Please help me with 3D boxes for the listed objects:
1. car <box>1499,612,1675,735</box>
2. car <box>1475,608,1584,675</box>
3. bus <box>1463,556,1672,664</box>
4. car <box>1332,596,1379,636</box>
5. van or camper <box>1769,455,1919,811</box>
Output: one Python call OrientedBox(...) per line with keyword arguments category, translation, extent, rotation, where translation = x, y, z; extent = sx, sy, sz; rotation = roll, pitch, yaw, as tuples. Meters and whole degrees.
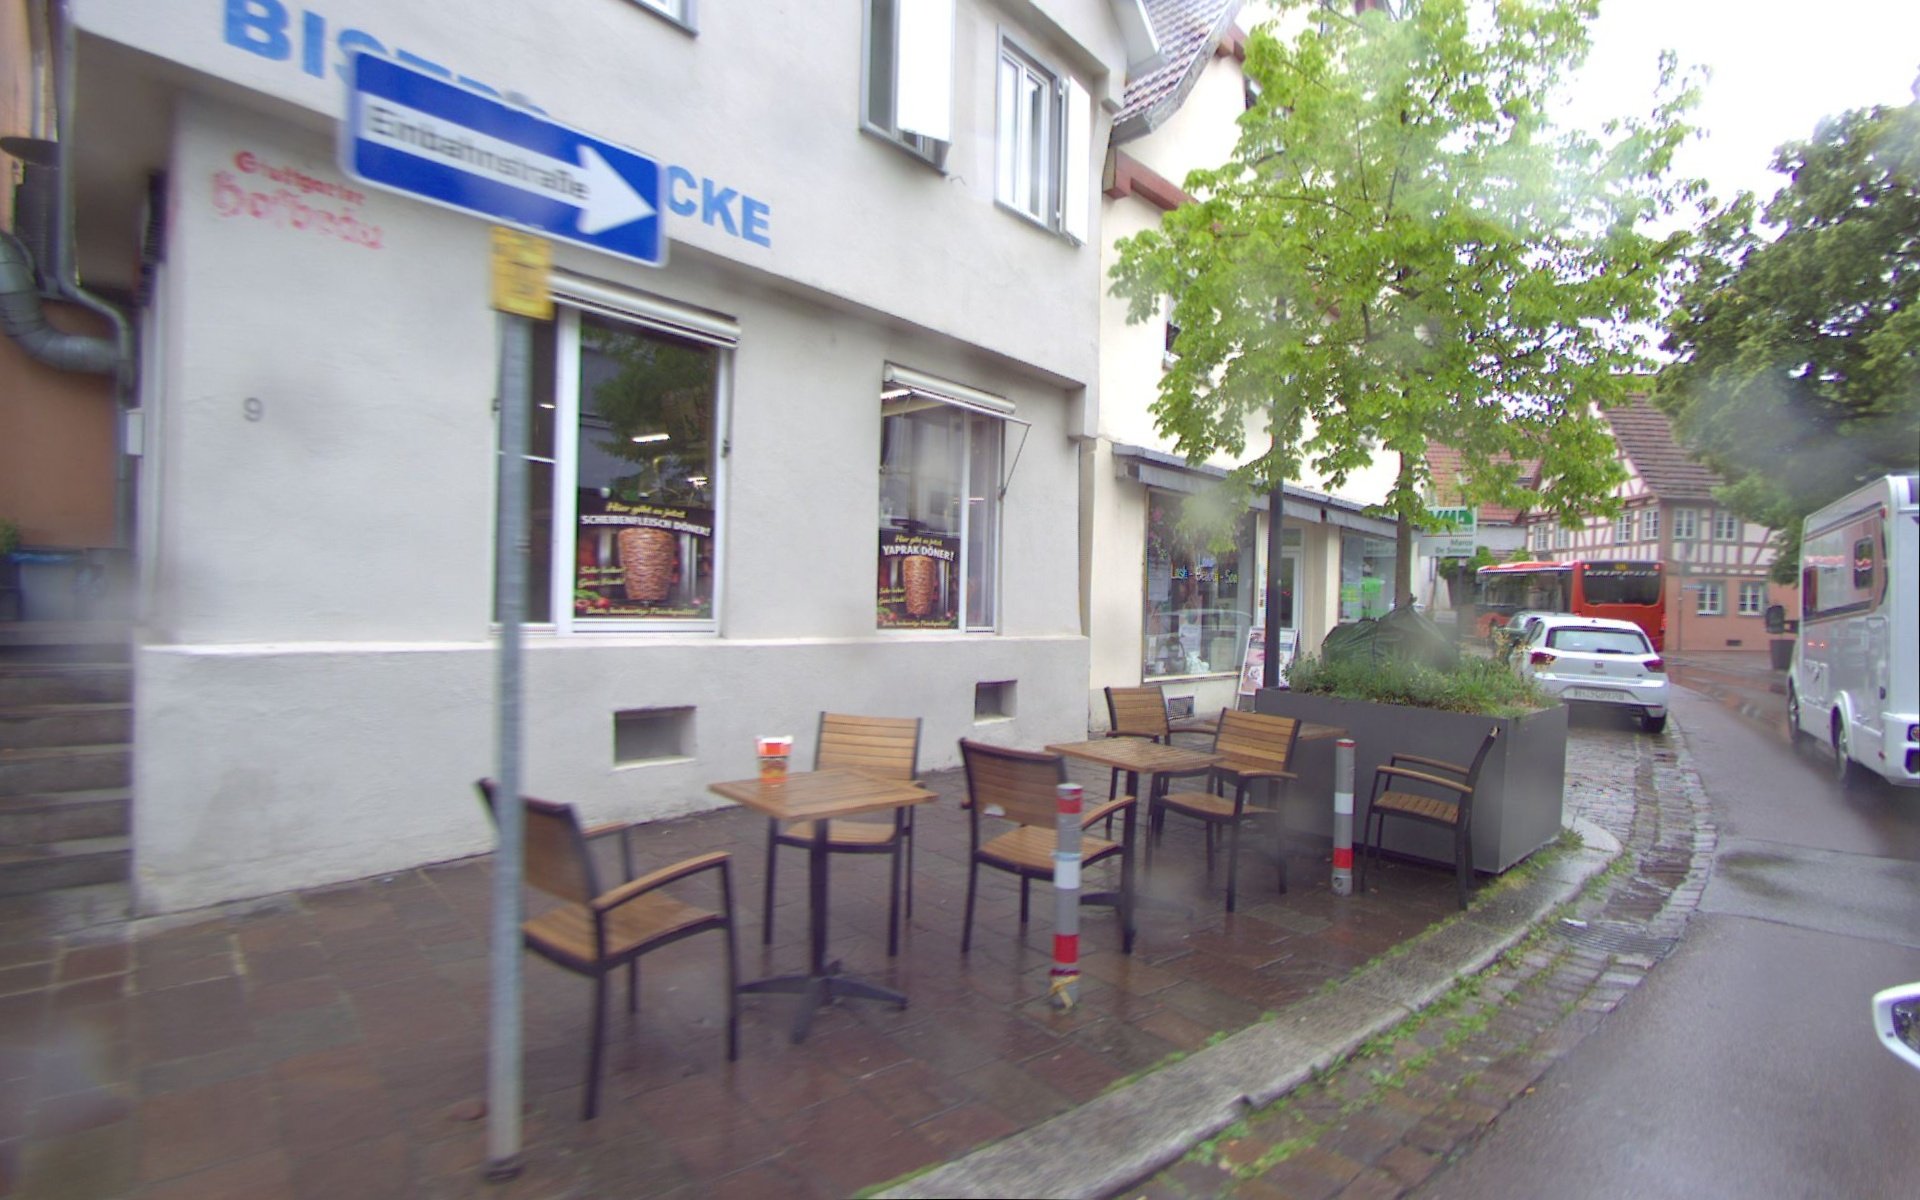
OrientedBox(category="car", translation=(9.106, 0.961, 14.902), extent=(1.694, 1.433, 3.977), rotation=(3, 1, 25))
OrientedBox(category="car", translation=(14.115, 0.954, 25.089), extent=(1.693, 1.433, 3.980), rotation=(2, 1, 20))
OrientedBox(category="bus", translation=(20.397, 0.290, 34.657), extent=(2.764, 3.130, 10.613), rotation=(0, 0, 12))
OrientedBox(category="car", translation=(18.132, 0.737, 46.191), extent=(1.670, 1.697, 3.892), rotation=(2, 0, 18))
OrientedBox(category="van or camper", translation=(9.691, 0.300, 9.655), extent=(2.405, 2.620, 6.730), rotation=(1, 0, 34))
